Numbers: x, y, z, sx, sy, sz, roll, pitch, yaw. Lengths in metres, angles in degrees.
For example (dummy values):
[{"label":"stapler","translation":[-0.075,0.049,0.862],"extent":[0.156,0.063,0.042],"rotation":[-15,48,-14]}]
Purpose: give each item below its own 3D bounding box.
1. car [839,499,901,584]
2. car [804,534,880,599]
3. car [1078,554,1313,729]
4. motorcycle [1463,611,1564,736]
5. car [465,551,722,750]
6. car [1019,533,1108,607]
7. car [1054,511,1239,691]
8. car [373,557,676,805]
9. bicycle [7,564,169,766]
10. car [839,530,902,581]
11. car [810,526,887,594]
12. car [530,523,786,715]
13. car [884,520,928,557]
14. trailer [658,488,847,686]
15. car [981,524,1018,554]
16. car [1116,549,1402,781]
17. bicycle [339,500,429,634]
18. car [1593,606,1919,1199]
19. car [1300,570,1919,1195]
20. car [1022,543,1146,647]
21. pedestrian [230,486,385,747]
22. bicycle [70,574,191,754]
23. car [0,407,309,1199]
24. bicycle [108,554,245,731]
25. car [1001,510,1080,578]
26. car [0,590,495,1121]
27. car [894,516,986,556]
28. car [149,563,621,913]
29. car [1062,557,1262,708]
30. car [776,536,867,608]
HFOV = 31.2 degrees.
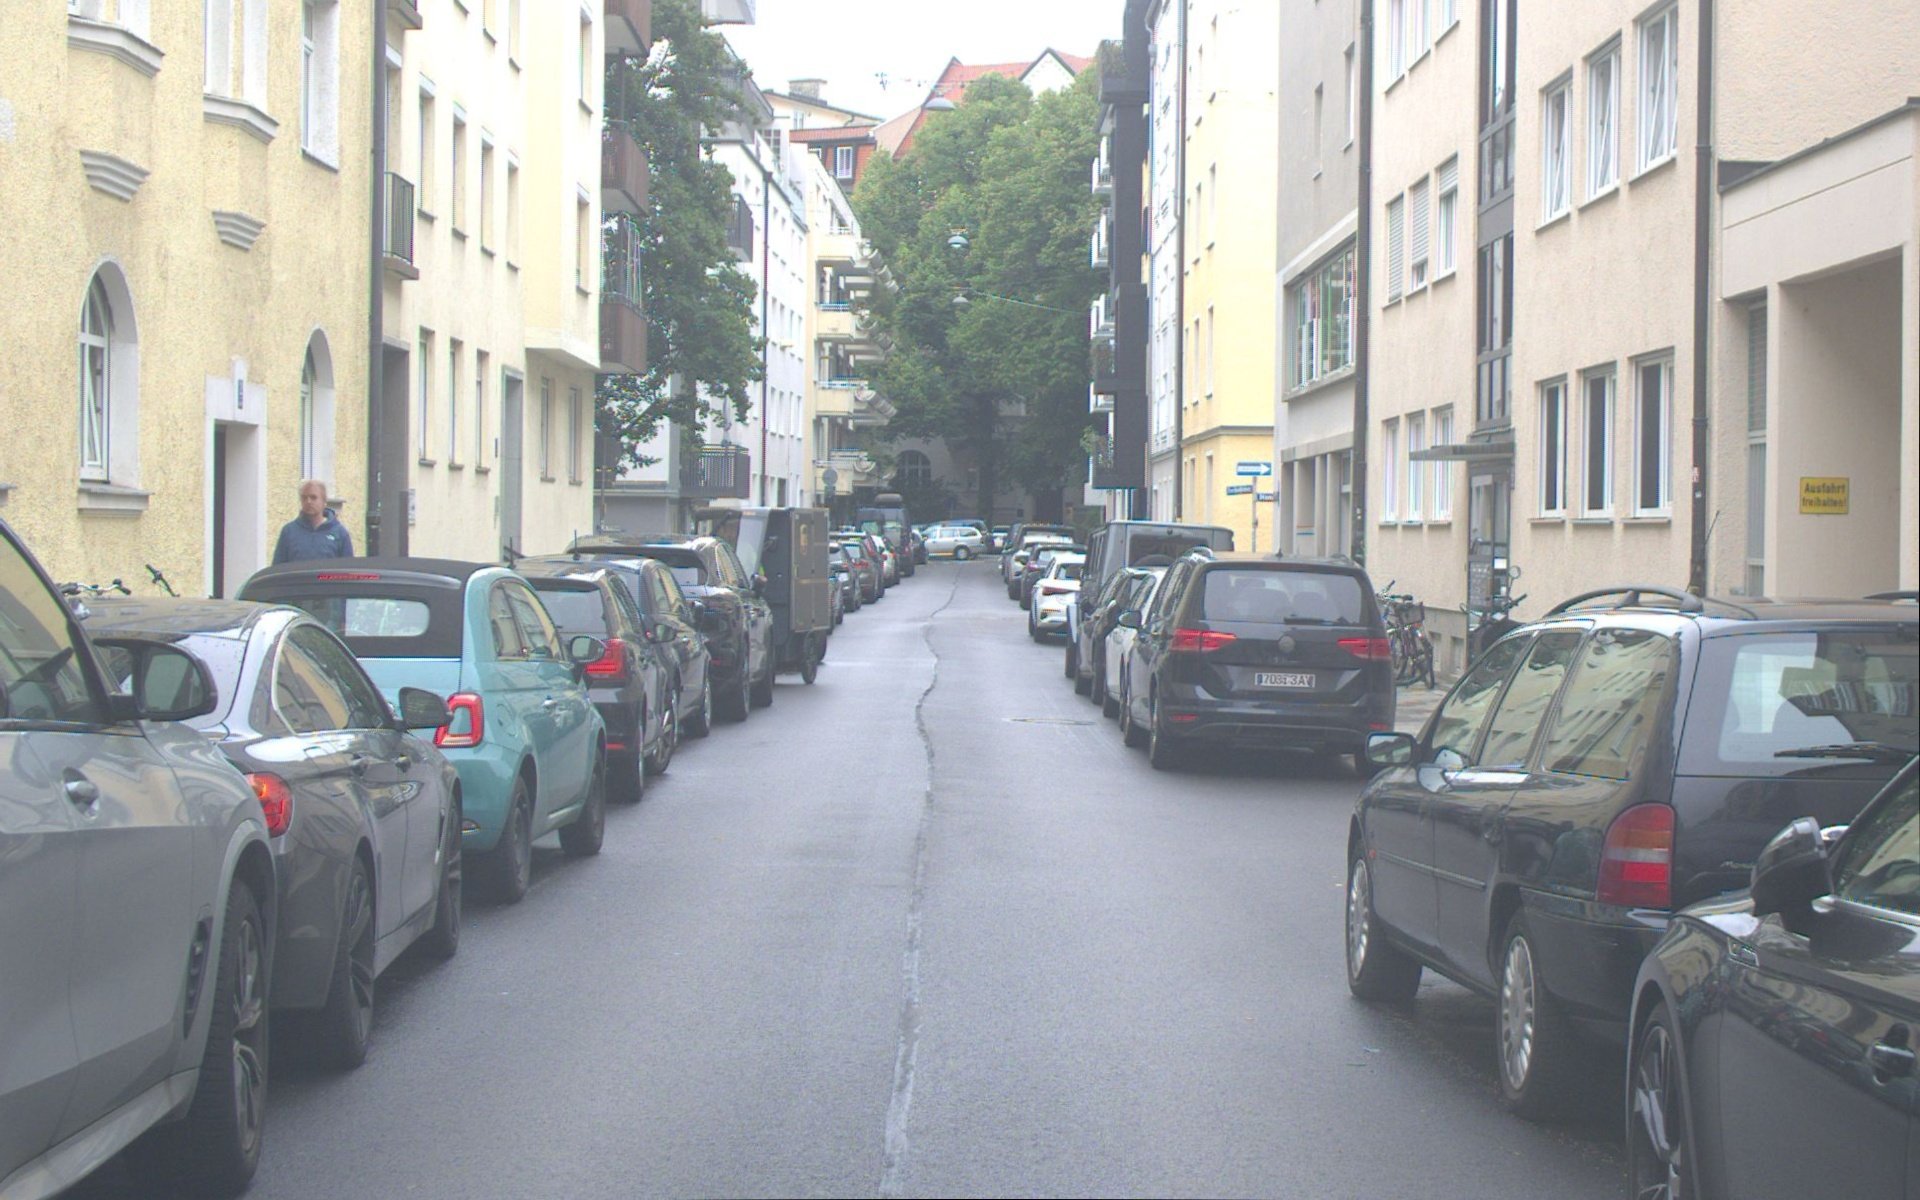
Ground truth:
[{"label":"car","translation":[-3.082,-2.034,118.456],"extent":[1.936,2.792,4.533],"rotation":[-2,1,0]},{"label":"car","translation":[-2.715,-0.798,79.662],"extent":[1.693,1.437,3.978],"rotation":[0,1,-1]},{"label":"car","translation":[2.141,0.338,32.275],"extent":[1.711,1.481,4.245],"rotation":[2,1,-2]},{"label":"motorcycle","translation":[4.688,0.607,29.209],"extent":[0.481,0.964,1.911],"rotation":[-3,1,-1]},{"label":"car","translation":[-2.824,0.349,27.073],"extent":[1.563,1.455,3.475],"rotation":[0,1,2]},{"label":"car","translation":[2.285,-0.688,76.707],"extent":[1.751,1.464,4.343],"rotation":[3,2,0]},{"label":"car","translation":[2.219,-0.041,41.928],"extent":[1.750,1.968,4.343],"rotation":[3,2,-2]},{"label":"car","translation":[-2.724,0.455,22.192],"extent":[1.563,1.455,3.764],"rotation":[0,1,-1]},{"label":"bicycle","translation":[-5.578,0.395,22.072],"extent":[0.593,1.229,1.737],"rotation":[1,1,-1]},{"label":"car","translation":[-2.694,-1.365,103.887],"extent":[1.777,1.448,4.046],"rotation":[-2,1,0]},{"label":"car","translation":[-2.756,-1.014,85.645],"extent":[1.776,1.623,4.415],"rotation":[0,1,0]},{"label":"car","translation":[-2.726,0.128,31.969],"extent":[1.879,1.654,4.414],"rotation":[0,1,2]},{"label":"car","translation":[-2.137,-2.444,136.668],"extent":[1.642,1.379,3.483],"rotation":[-2,1,0]},{"label":"trailer","translation":[-2.299,-0.167,38.785],"extent":[1.356,2.108,3.317],"rotation":[1,1,10]},{"label":"car","translation":[1.888,-2.933,164.197],"extent":[1.642,1.379,3.746],"rotation":[-2,1,0]},{"label":"car","translation":[2.238,0.439,26.720],"extent":[1.711,1.602,4.244],"rotation":[2,1,-1]},{"label":"bicycle","translation":[-5.724,-0.332,34.243],"extent":[0.594,1.274,1.552],"rotation":[3,1,-1]},{"label":"car","translation":[2.246,0.770,5.114],"extent":[1.833,1.401,4.411],"rotation":[2,1,1]},{"label":"car","translation":[2.266,0.682,10.608],"extent":[1.716,1.466,4.532],"rotation":[2,1,-3]},{"label":"car","translation":[2.014,-0.113,56.870],"extent":[1.819,1.403,3.953],"rotation":[2,4,-1]},{"label":"pedestrian","translation":[-4.544,0.103,24.014],"extent":[0.839,1.758,1.068],"rotation":[2,1,0]},{"label":"bicycle","translation":[-5.736,0.422,23.824],"extent":[0.439,1.186,1.633],"rotation":[1,1,-1]},{"label":"car","translation":[-2.552,0.565,6.443],"extent":[1.862,1.764,4.736],"rotation":[-1,1,-2]},{"label":"bicycle","translation":[-5.681,0.290,24.993],"extent":[0.593,1.229,1.737],"rotation":[1,1,-1]},{"label":"car","translation":[2.010,-1.438,87.064],"extent":[1.682,1.562,4.416],"rotation":[3,2,-2]},{"label":"car","translation":[-2.705,0.694,11.421],"extent":[1.811,1.381,4.251],"rotation":[-1,1,-1]},{"label":"car","translation":[-0.860,-2.757,147.151],"extent":[3.885,1.579,1.648],"rotation":[-2,1,-1]},{"label":"car","translation":[-2.596,0.565,16.212],"extent":[1.563,1.455,3.404],"rotation":[0,1,2]},{"label":"car","translation":[2.128,0.309,37.212],"extent":[1.711,1.481,4.245],"rotation":[2,1,-2]},{"label":"car","translation":[-2.873,-0.608,72.137],"extent":[1.693,1.437,3.942],"rotation":[0,1,1]}]
